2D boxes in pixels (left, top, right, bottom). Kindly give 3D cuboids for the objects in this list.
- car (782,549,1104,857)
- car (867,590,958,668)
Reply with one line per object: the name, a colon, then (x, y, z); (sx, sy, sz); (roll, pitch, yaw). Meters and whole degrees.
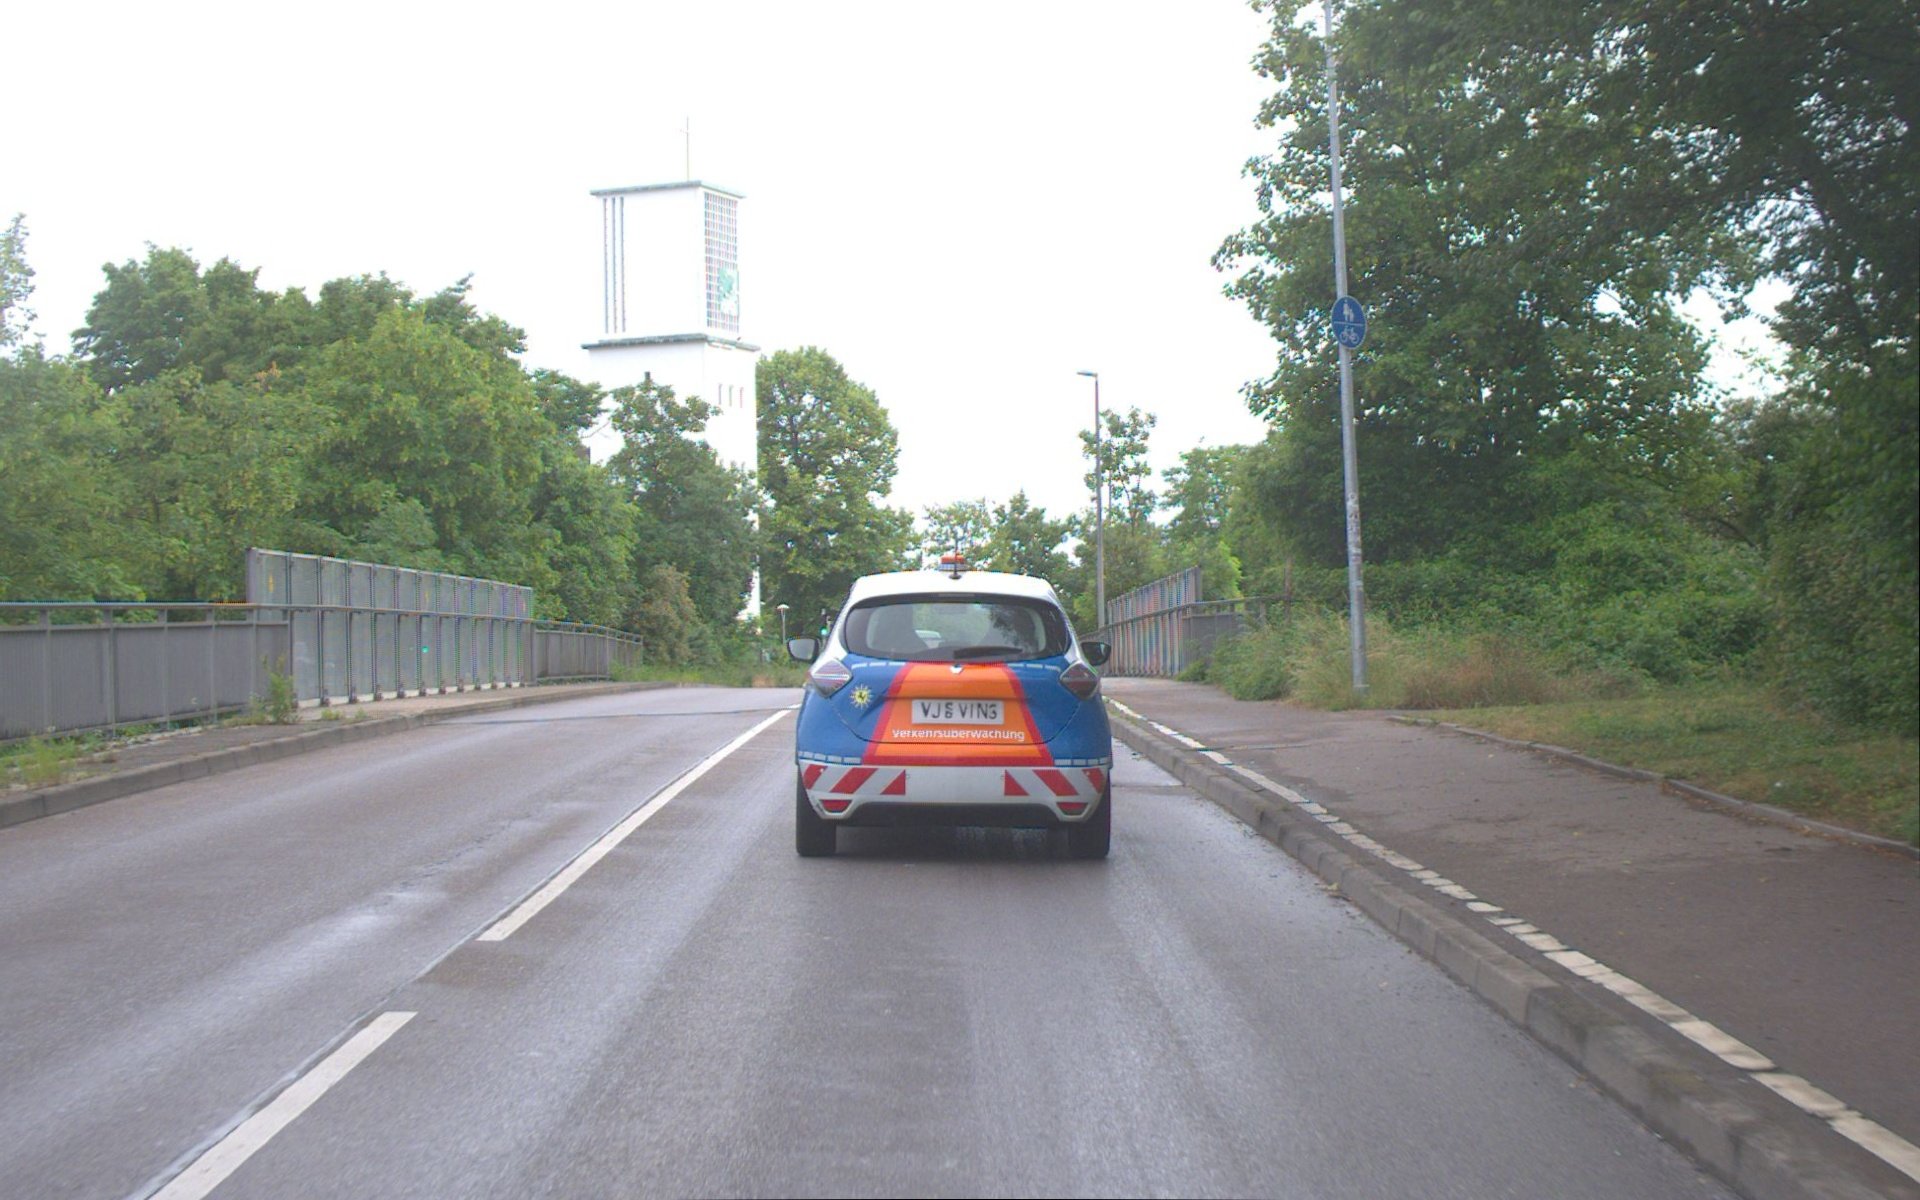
car: (-0.108, 0.538, 19.676); (1.657, 1.587, 3.568); (-1, 0, -1)
car: (-1.049, 0.609, 74.534); (1.802, 1.584, 3.563); (-2, 0, -3)
